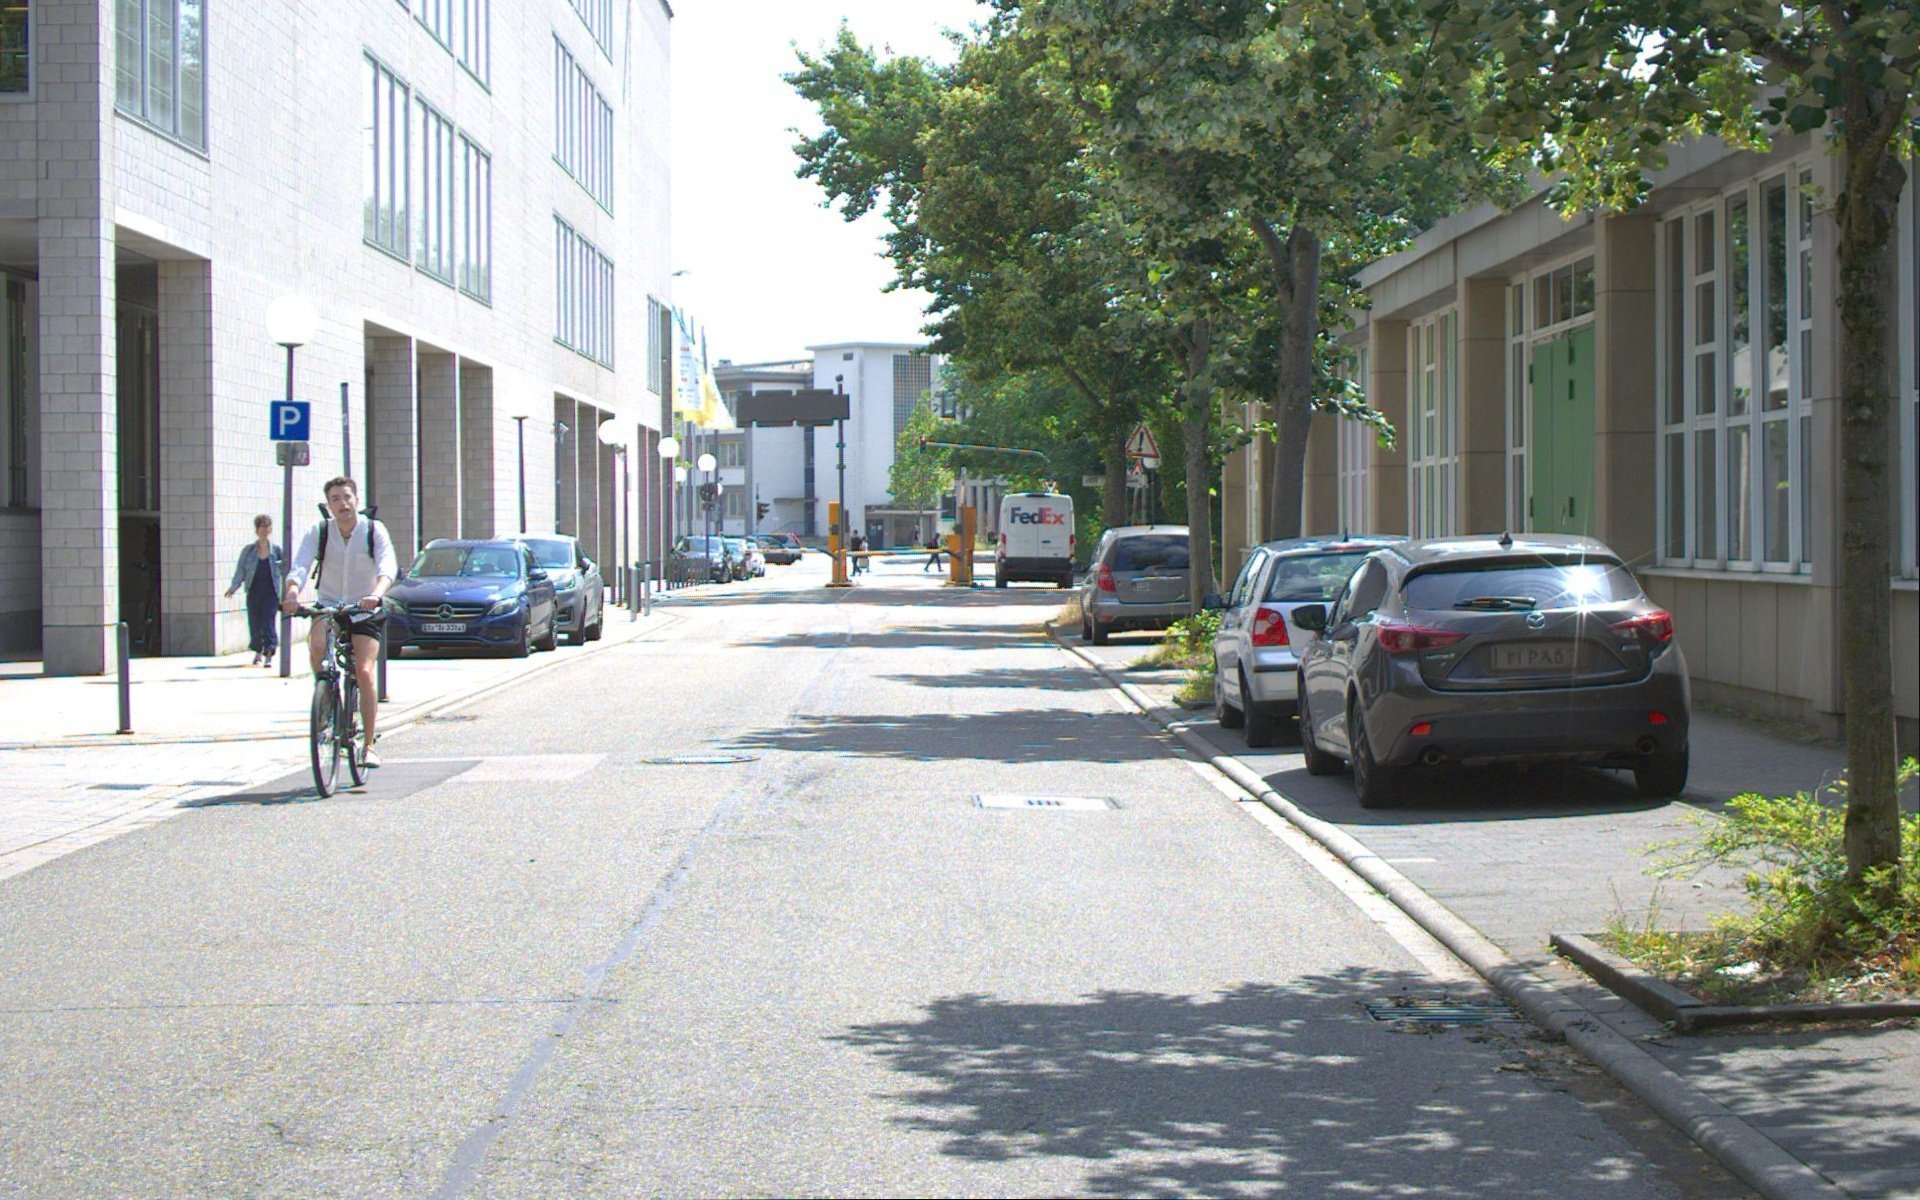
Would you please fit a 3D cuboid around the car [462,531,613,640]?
[{"bbox_3d":[-5.970,-0.223,48.950,1.631,1.479,4.178,0,1,0],"label":"car"}]

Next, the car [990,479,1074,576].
[{"bbox_3d":[1.925,-1.957,92.722,2.083,2.531,4.316,1,1,-1],"label":"car"}]

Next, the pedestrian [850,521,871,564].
[{"bbox_3d":[-3.914,-2.259,134.846,0.777,1.673,0.504,1,1,0],"label":"pedestrian"}]

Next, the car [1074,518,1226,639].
[{"bbox_3d":[2.602,-0.330,47.931,1.858,1.568,4.000,-1,1,0],"label":"car"}]

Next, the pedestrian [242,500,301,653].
[{"bbox_3d":[-7.720,-0.265,38.567,0.649,1.695,0.890,0,1,-11],"label":"pedestrian"}]

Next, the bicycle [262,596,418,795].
[{"bbox_3d":[-3.796,0.562,21.168,0.685,1.126,1.889,-1,1,-2],"label":"bicycle"}]

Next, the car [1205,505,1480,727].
[{"bbox_3d":[2.775,0.075,25.642,1.616,1.533,3.780,0,1,0],"label":"car"}]

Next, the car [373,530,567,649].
[{"bbox_3d":[-6.129,-0.151,43.436,1.766,1.423,4.234,0,1,1],"label":"car"}]

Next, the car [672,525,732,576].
[{"bbox_3d":[-8.152,-1.553,108.939,1.646,1.493,3.729,0,-1,-1],"label":"car"}]

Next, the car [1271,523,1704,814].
[{"bbox_3d":[2.954,0.311,20.160,1.780,1.471,4.462,-2,1,-1],"label":"car"}]

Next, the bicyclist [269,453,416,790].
[{"bbox_3d":[-3.790,0.120,21.154,0.711,2.007,1.019,-1,1,-3],"label":"bicyclist"}]
